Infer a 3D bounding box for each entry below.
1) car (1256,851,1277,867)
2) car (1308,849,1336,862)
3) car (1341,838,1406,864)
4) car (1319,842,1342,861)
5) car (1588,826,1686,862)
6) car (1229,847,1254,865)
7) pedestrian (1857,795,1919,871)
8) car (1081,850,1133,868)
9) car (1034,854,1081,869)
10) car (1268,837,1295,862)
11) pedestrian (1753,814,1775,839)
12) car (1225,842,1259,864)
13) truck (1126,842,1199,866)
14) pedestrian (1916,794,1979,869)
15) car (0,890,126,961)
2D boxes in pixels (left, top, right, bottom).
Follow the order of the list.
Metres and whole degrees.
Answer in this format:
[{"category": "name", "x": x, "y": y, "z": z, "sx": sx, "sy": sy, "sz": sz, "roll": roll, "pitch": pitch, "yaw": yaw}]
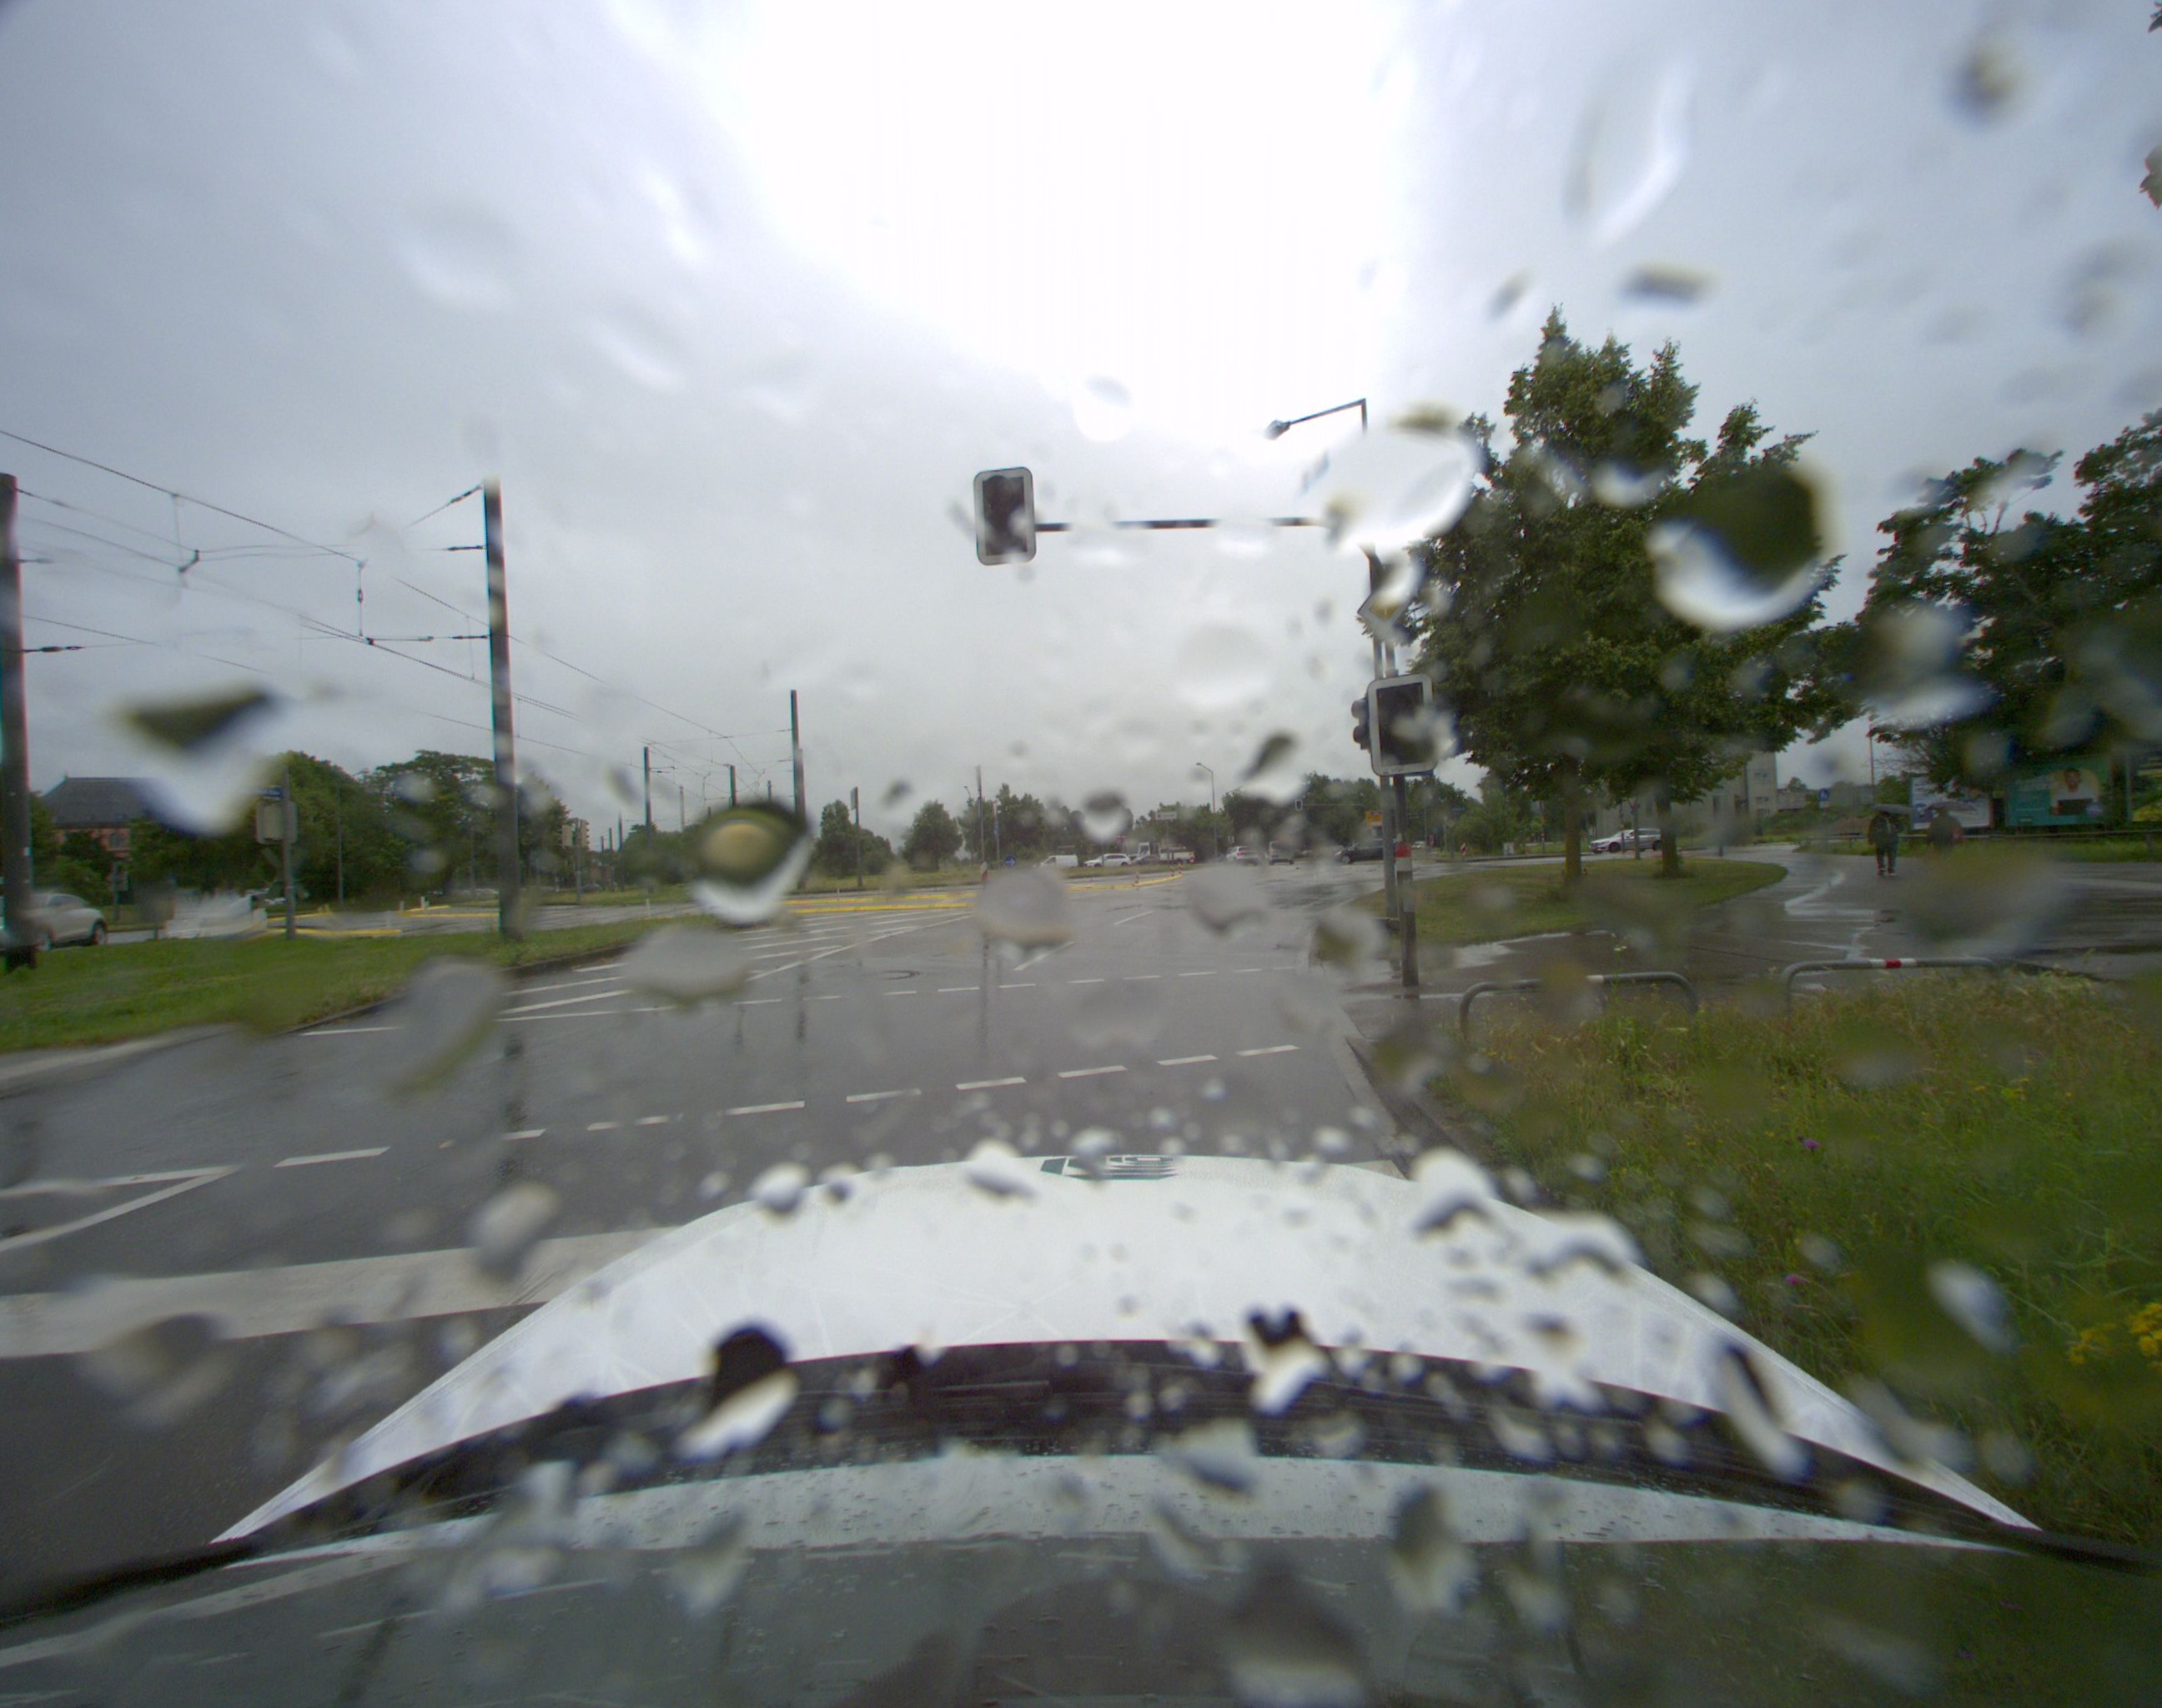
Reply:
[{"category": "car", "x": 17.419, "y": 0.451, "z": 76.304, "sx": 1.675, "sy": 1.492, "sz": 3.265, "roll": -1, "pitch": -1, "yaw": 17}, {"category": "car", "x": 32.681, "y": 0.165, "z": 110.602, "sx": 1.975, "sy": 1.750, "sz": 4.023, "roll": -1, "pitch": -1, "yaw": 45}, {"category": "car", "x": 19.587, "y": -0.198, "z": 54.581, "sx": 3.951, "sy": 1.648, "sz": 1.799, "roll": -1, "pitch": -1, "yaw": 24}, {"category": "car", "x": 20.770, "y": -0.220, "z": 67.808, "sx": 1.676, "sy": 1.492, "sz": 3.264, "roll": -3, "pitch": 0, "yaw": 15}, {"category": "car", "x": 34.933, "y": -0.610, "z": 51.272, "sx": 4.804, "sy": 1.810, "sz": 1.790, "roll": -5, "pitch": 0, "yaw": 1}, {"category": "car", "x": 14.238, "y": 0.186, "z": 72.169, "sx": 1.674, "sy": 1.492, "sz": 3.267, "roll": -1, "pitch": -1, "yaw": 20}, {"category": "pedestrian", "x": 19.753, "y": -0.496, "z": 19.941, "sx": 0.811, "sy": 1.784, "sz": 0.914, "roll": 0, "pitch": -1, "yaw": -33}, {"category": "car", "x": 2.607, "y": 0.526, "z": 81.669, "sx": 4.870, "sy": 1.744, "sz": 1.764, "roll": 0, "pitch": -1, "yaw": -23}, {"category": "car", "x": -2.427, "y": 0.800, "z": 84.056, "sx": 4.548, "sy": 1.492, "sz": 1.601, "roll": 0, "pitch": -1, "yaw": -20}, {"category": "car", "x": 17.379, "y": -0.380, "z": 70.433, "sx": 1.768, "sy": 2.036, "sz": 4.020, "roll": -1, "pitch": -1, "yaw": 20}, {"category": "pedestrian", "x": 48.037, "y": -1.934, "z": 57.307, "sx": 0.947, "sy": 1.772, "sz": 0.715, "roll": -1, "pitch": -1, "yaw": 11}, {"category": "car", "x": 12.765, "y": -0.065, "z": 64.660, "sx": 1.677, "sy": 1.648, "sz": 3.941, "roll": 0, "pitch": -1, "yaw": -4}, {"category": "truck", "x": 9.521, "y": 0.022, "z": 94.251, "sx": 8.820, "sy": 2.711, "sz": 1.981, "roll": 0, "pitch": -1, "yaw": -29}, {"category": "pedestrian", "x": 21.318, "y": -0.539, "z": 20.038, "sx": 0.811, "sy": 1.784, "sz": 0.914, "roll": 0, "pitch": -1, "yaw": -33}, {"category": "car", "x": -25.814, "y": 1.690, "z": 19.832, "sx": 1.856, "sy": 1.486, "sz": 4.188, "roll": 0, "pitch": -1, "yaw": -28}]
